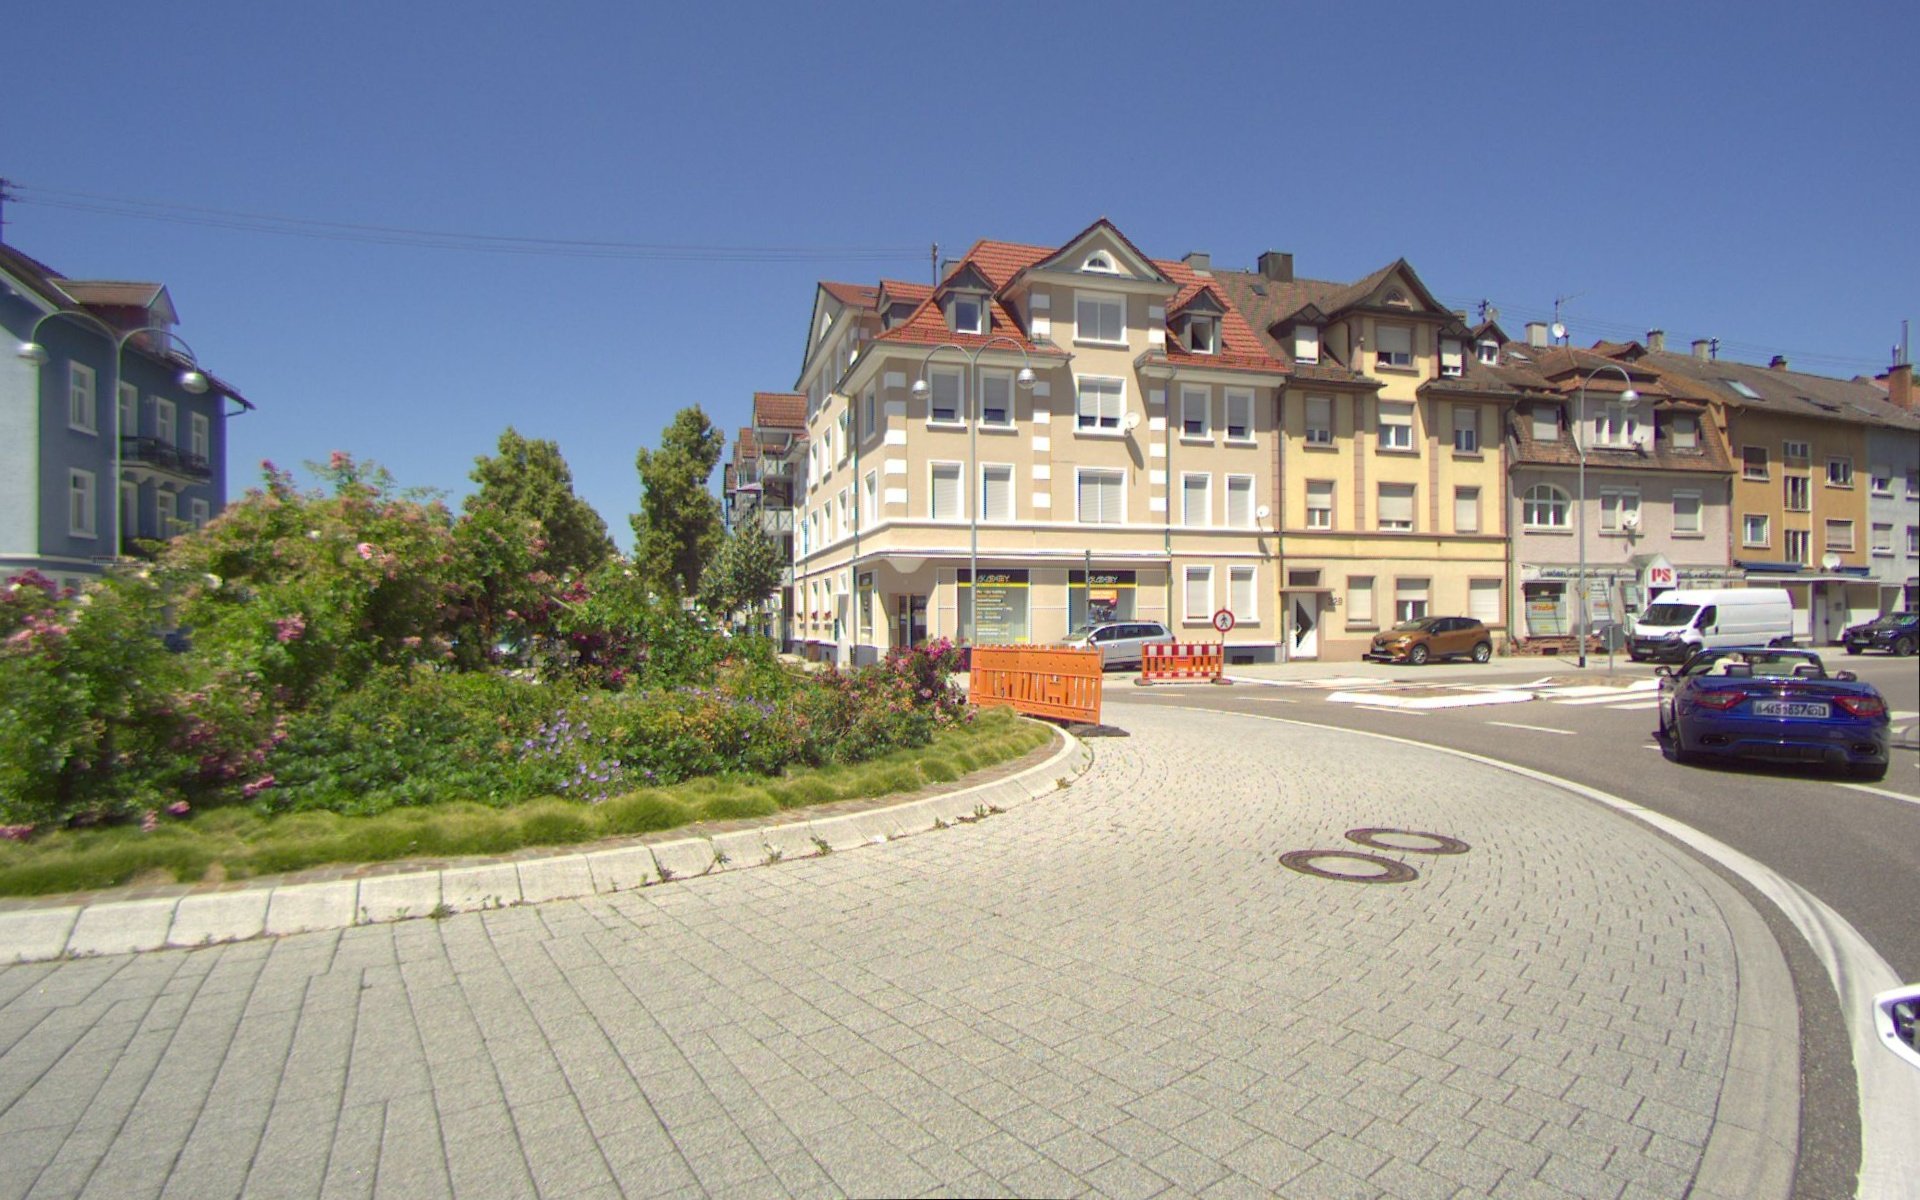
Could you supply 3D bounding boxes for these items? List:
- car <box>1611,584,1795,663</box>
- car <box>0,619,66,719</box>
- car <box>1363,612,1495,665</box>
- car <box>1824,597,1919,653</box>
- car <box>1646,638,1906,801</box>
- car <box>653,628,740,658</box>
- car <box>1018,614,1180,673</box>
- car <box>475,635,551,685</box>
[{"bbox_3d":[25.888,0.769,35.003,6.143,2.567,2.141,0,1,-20],"label":"car"},{"bbox_3d":[-18.854,1.290,17.729,1.747,1.801,4.241,-1,0,22],"label":"car"},{"bbox_3d":[15.718,1.246,33.695,4.026,1.638,1.597,0,1,-18],"label":"car"},{"bbox_3d":[35.623,0.952,38.663,3.944,2.040,2.063,0,-2,-24],"label":"car"},{"bbox_3d":[9.846,1.310,12.504,1.844,1.550,4.498,2,-2,31],"label":"car"},{"bbox_3d":[-13.804,2.231,52.618,4.336,1.512,1.976,0,-2,-16],"label":"car"},{"bbox_3d":[4.243,1.293,30.708,4.620,1.708,1.774,0,-1,-18],"label":"car"},{"bbox_3d":[-17.937,2.347,40.503,1.966,1.693,4.473,0,0,-13],"label":"car"}]
